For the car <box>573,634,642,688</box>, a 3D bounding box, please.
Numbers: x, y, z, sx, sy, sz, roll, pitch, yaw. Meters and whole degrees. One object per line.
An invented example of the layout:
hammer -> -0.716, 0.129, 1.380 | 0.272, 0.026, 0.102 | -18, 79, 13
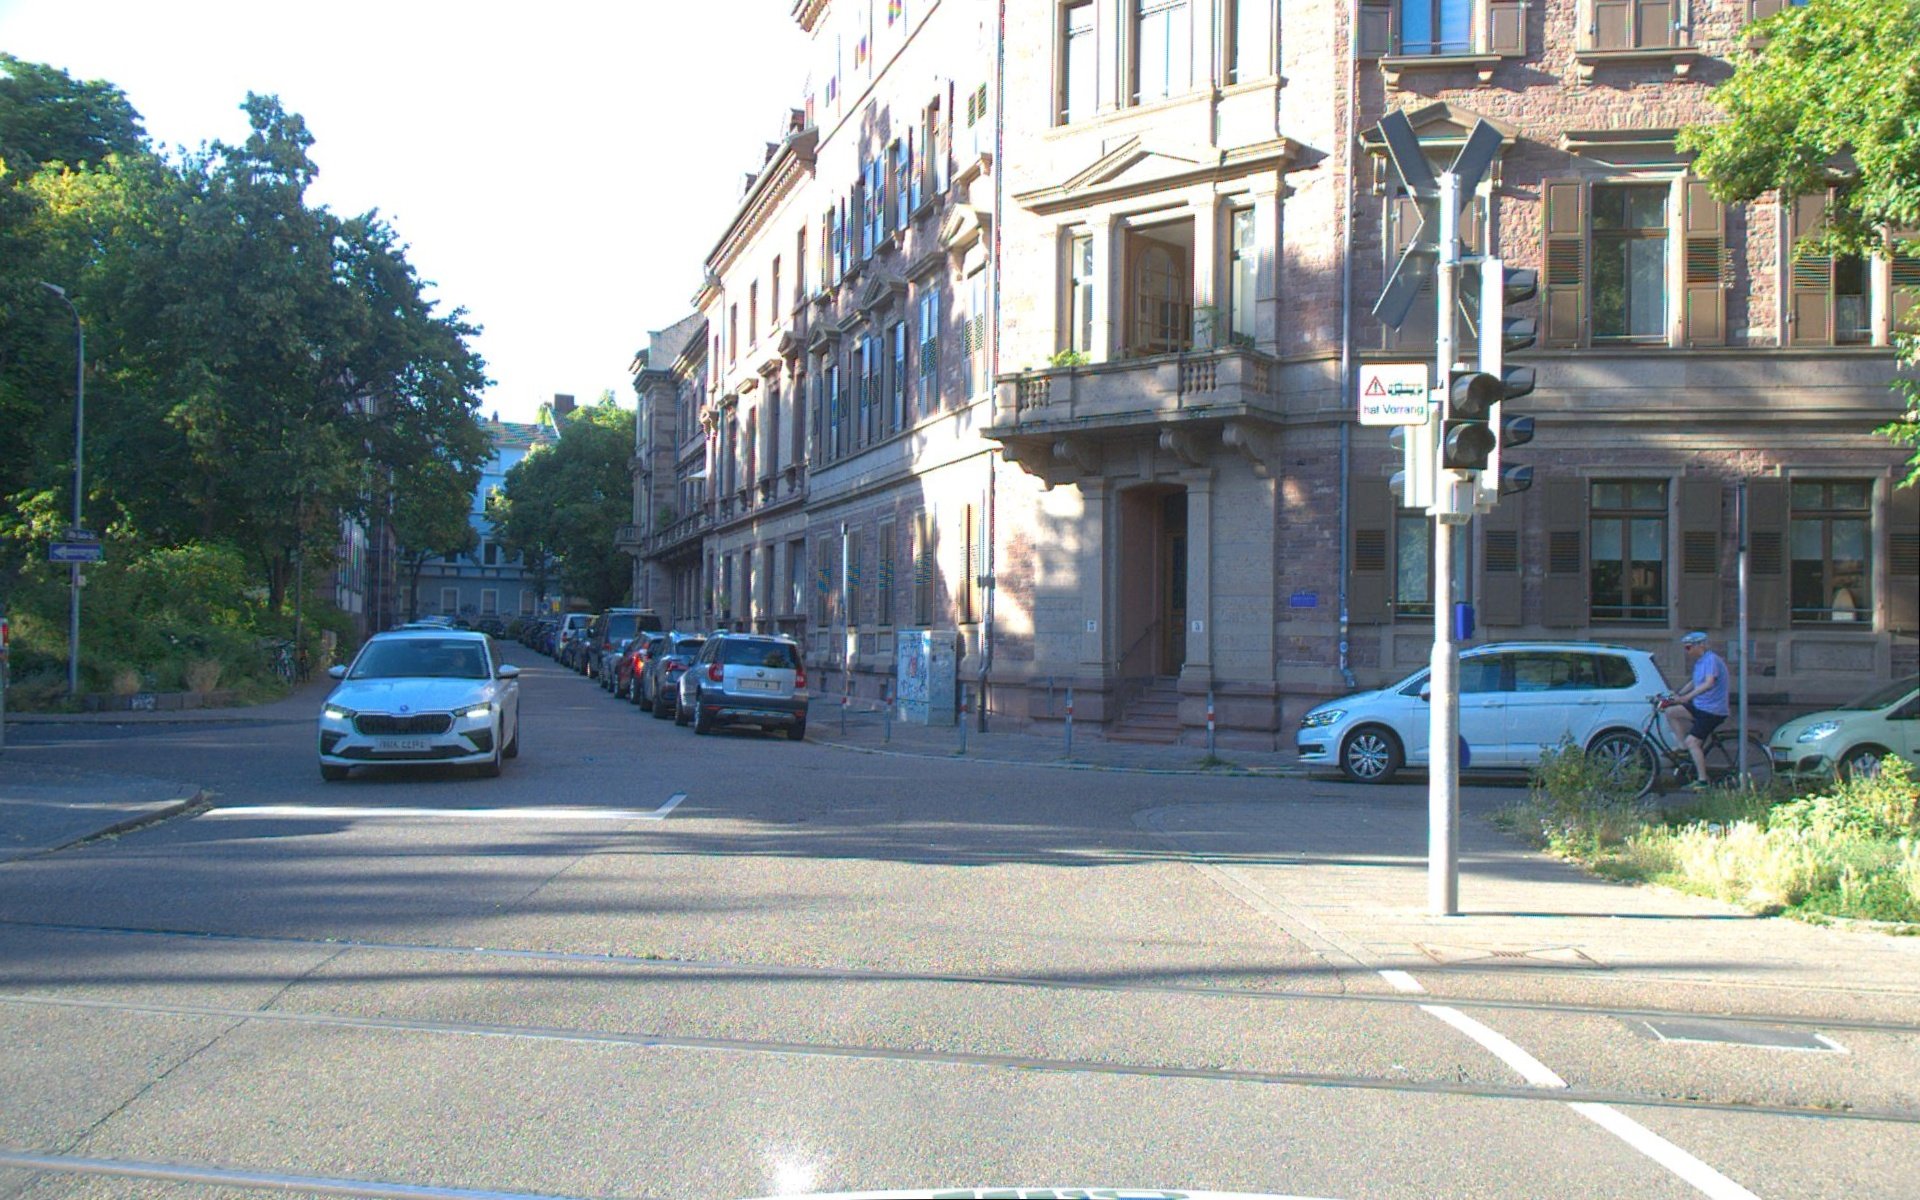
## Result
car -> -11.420, 1.942, 53.444 | 1.769, 1.550, 3.936 | 4, -2, -17

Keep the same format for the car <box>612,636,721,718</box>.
car -> -6.730, 1.717, 37.659 | 1.771, 1.642, 3.933 | 4, -2, -19

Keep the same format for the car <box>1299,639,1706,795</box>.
car -> 6.351, 1.393, 19.855 | 4.387, 1.679, 1.876 | 1, -4, 9

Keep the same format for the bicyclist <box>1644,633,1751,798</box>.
bicyclist -> 7.560, 1.173, 16.984 | 0.853, 1.616, 0.701 | 2, -2, 13

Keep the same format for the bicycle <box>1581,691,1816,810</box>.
bicycle -> 7.540, 1.525, 16.973 | 2.071, 1.073, 0.701 | 2, -2, 13

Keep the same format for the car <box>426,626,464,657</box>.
car -> -27.721, 2.223, 89.120 | 1.797, 1.526, 3.913 | 5, -2, -16

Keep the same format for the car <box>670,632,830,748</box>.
car -> -3.613, 1.473, 27.877 | 1.886, 1.686, 4.166 | 5, -3, -17

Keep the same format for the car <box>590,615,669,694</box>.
car -> -9.681, 1.571, 48.213 | 1.769, 2.109, 3.936 | 4, -2, -17

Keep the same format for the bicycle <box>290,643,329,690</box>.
bicycle -> -16.307, 1.661, 41.493 | 0.587, 1.121, 2.616 | 1, -2, -15

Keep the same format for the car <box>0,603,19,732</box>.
car -> -17.505, 1.026, 25.890 | 4.545, 2.038, 1.952 | 1, -2, 8

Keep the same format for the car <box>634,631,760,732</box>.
car -> -5.285, 1.559, 32.775 | 1.797, 1.754, 4.522 | 5, -2, -16

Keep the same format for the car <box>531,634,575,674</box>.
car -> -19.712, 2.604, 80.089 | 1.769, 1.758, 3.936 | 4, -2, -17

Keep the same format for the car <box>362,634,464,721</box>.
car -> -11.677, 1.609, 35.502 | 1.797, 1.643, 4.271 | 5, -2, -16

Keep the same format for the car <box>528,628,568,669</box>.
car -> -22.227, 2.623, 89.190 | 1.769, 2.052, 3.936 | 4, -2, -17

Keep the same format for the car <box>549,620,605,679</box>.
car -> -14.894, 1.919, 64.223 | 1.769, 2.109, 3.936 | 4, -2, -17

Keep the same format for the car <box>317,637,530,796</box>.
car -> -5.652, 1.163, 17.860 | 1.672, 1.482, 4.051 | 1, -1, -11

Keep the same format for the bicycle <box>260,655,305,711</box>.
bicycle -> -14.434, 1.743, 35.279 | 0.587, 1.121, 2.615 | 1, -2, -17

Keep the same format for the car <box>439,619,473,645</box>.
car -> -36.865, 2.327, 120.871 | 1.966, 1.714, 3.972 | 3, -4, -22

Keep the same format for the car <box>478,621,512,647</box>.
car -> -34.425, 2.526, 122.443 | 1.966, 1.714, 3.972 | 3, -4, -22

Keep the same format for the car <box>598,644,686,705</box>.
car -> -8.226, 1.891, 42.542 | 1.769, 1.369, 3.936 | 4, -2, -17

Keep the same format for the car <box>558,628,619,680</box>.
car -> -13.230, 1.900, 58.785 | 1.769, 1.651, 3.936 | 4, -2, -17

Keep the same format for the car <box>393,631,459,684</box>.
car -> -17.169, 1.826, 53.340 | 1.797, 1.526, 3.913 | 5, -2, -16

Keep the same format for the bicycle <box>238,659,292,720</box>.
bicycle -> -13.710, 1.741, 32.670 | 0.587, 1.121, 2.616 | 1, -2, -15

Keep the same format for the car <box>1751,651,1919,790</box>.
car -> 11.413, 1.423, 19.211 | 3.633, 1.516, 1.743 | 1, -4, 7

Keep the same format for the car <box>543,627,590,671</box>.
car -> -17.930, 2.221, 75.233 | 1.769, 1.871, 3.936 | 4, -2, -17

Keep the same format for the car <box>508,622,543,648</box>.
car -> -32.432, 2.627, 123.399 | 1.966, 1.714, 3.972 | 3, -4, -22
